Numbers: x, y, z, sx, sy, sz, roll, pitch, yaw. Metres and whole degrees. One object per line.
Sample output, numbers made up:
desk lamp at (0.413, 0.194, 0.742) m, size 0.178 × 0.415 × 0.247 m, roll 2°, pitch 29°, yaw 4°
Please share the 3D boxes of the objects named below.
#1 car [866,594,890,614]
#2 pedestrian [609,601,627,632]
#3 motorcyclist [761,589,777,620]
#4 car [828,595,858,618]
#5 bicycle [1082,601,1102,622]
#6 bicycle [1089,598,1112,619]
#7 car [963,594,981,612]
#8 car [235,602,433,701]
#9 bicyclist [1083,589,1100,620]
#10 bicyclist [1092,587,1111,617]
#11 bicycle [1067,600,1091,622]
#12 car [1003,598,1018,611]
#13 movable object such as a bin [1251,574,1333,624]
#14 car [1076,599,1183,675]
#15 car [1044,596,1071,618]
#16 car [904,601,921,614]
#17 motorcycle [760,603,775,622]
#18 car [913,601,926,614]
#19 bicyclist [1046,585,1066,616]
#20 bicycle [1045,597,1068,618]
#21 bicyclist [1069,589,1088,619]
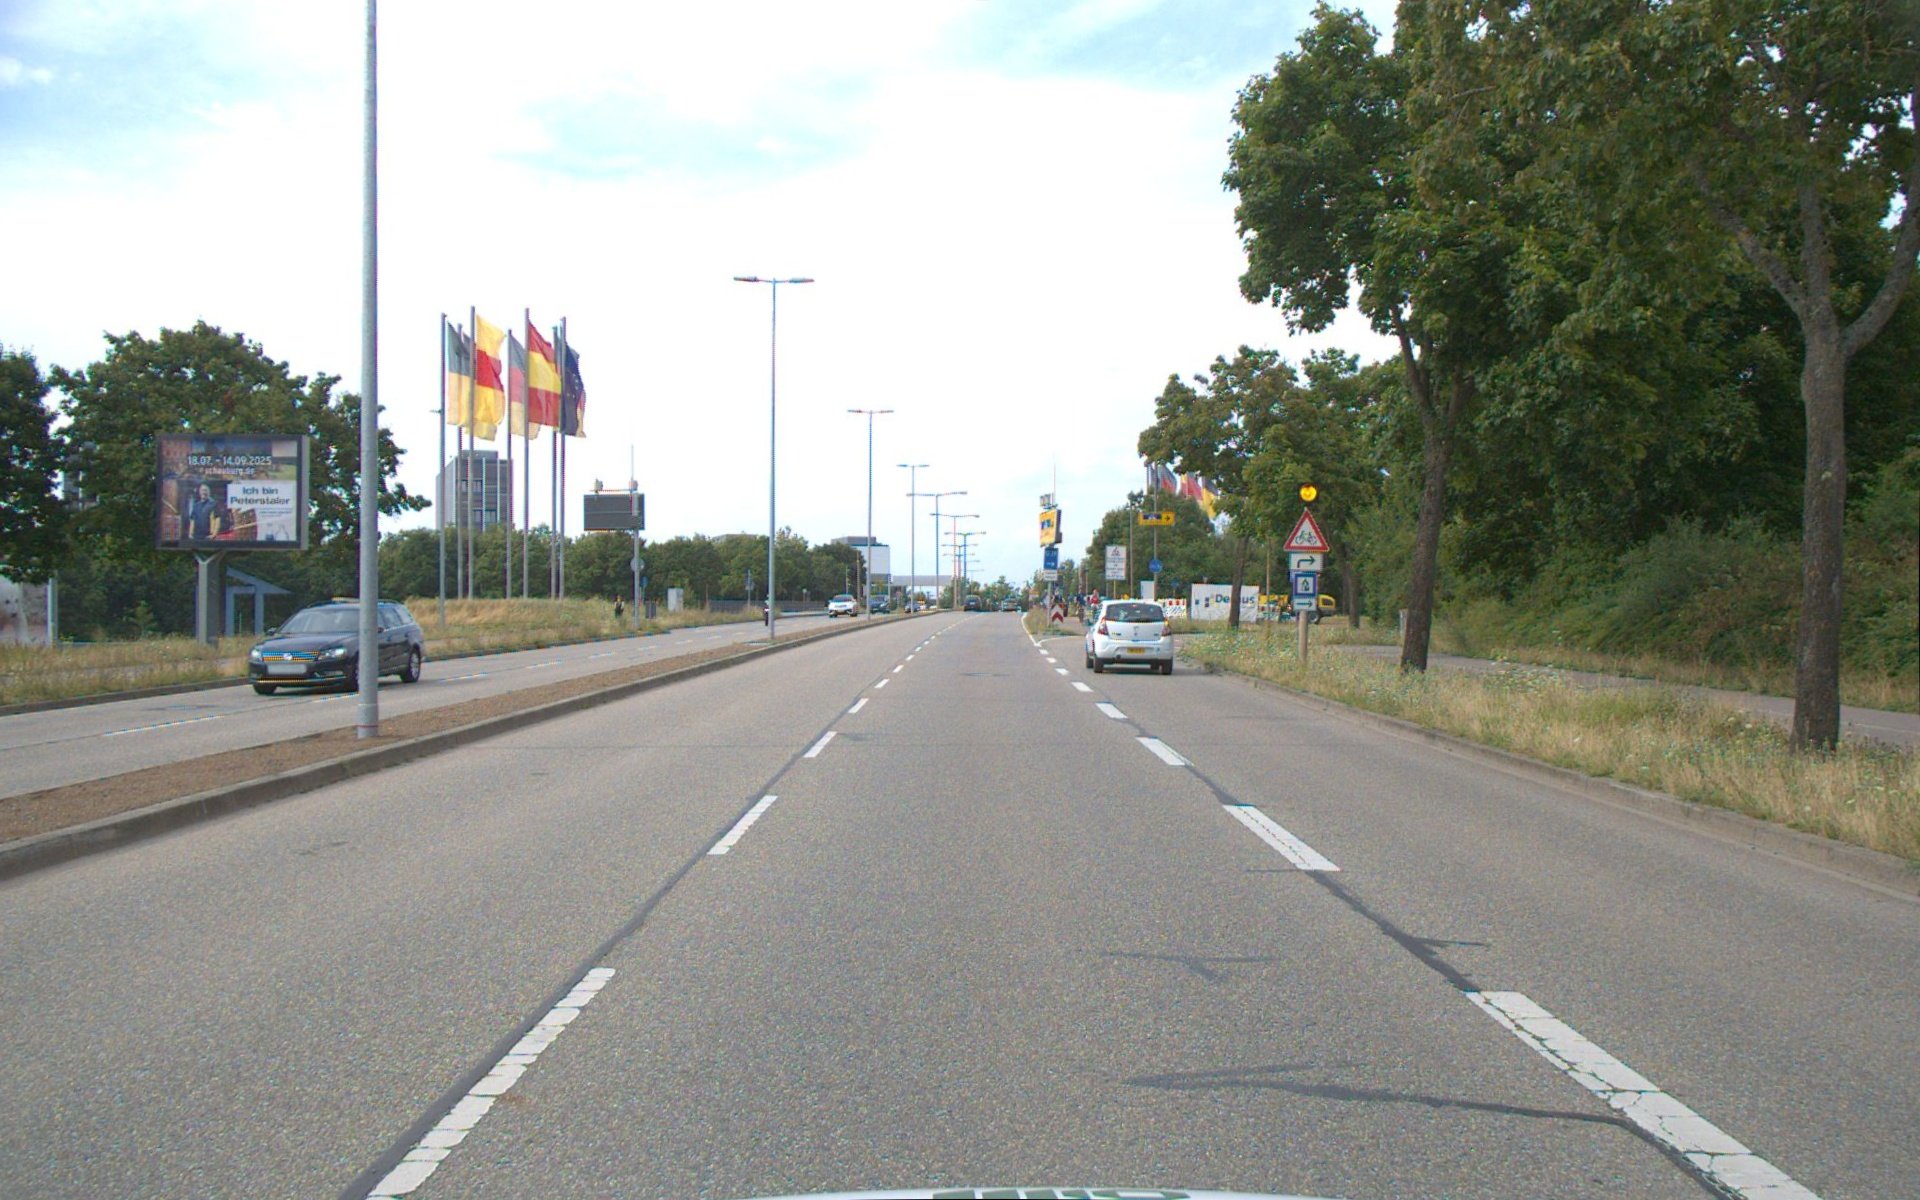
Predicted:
car at (-8.421, 0.432, 170.777) m, size 1.809 × 1.927 × 5.507 m, roll -3°, pitch 0°, yaw 3°
pedestrian at (-19.893, 0.958, 96.243) m, size 0.847 × 1.722 × 0.679 m, roll -1°, pitch 0°, yaw 0°
motorcyclist at (-10.215, 0.244, 88.454) m, size 0.754 × 1.616 × 0.896 m, roll -1°, pitch 0°, yaw 0°
car at (-8.722, 0.489, 123.887) m, size 1.809 × 1.629 × 4.562 m, roll -1°, pitch 1°, yaw 1°
bicycle at (6.541, 0.556, 81.965) m, size 0.608 × 1.023 × 1.785 m, roll -2°, pitch 0°, yaw -6°
bicycle at (7.193, 0.432, 84.736) m, size 0.609 × 1.023 × 1.782 m, roll -2°, pitch 0°, yaw -12°
car at (1.203, 0.339, 165.243) m, size 1.694 × 1.682 × 4.116 m, roll 1°, pitch -1°, yaw 3°
car at (-10.839, 0.834, 29.022) m, size 1.732 × 1.559 × 4.740 m, roll -1°, pitch 0°, yaw -1°
bicyclist at (6.522, 0.217, 81.976) m, size 0.726 × 1.499 × 0.804 m, roll 1°, pitch -1°, yaw -6°
bicyclist at (7.242, 0.109, 84.698) m, size 0.728 × 1.513 × 0.955 m, roll 1°, pitch -1°, yaw -13°
bicycle at (6.064, 0.548, 84.562) m, size 0.585 × 1.055 × 2.188 m, roll 3°, pitch 0°, yaw -12°
car at (6.071, 0.590, 200.331) m, size 1.695 × 1.553 × 4.115 m, roll 1°, pitch -1°, yaw 1°
movable object such as a bin at (19.069, -0.036, 95.158) m, size 4.406 × 2.736 × 2.103 m, roll 1°, pitch -1°, yaw 6°
car at (3.632, 0.774, 36.014) m, size 1.810 × 1.528 × 3.999 m, roll 1°, pitch 0°, yaw -1°
car at (7.686, 0.549, 130.792) m, size 1.696 × 1.682 × 4.112 m, roll 1°, pitch -1°, yaw -3°
car at (-5.824, 0.881, 203.732) m, size 1.727 × 1.466 × 4.178 m, roll -2°, pitch 0°, yaw 2°
motorcycle at (-10.305, 0.684, 88.541) m, size 0.512 × 0.984 × 2.220 m, roll -1°, pitch 0°, yaw 0°
car at (-5.571, 1.021, 226.072) m, size 1.516 × 1.605 × 3.691 m, roll -2°, pitch 0°, yaw 2°
bicyclist at (4.913, 0.021, 84.591) m, size 0.728 × 1.545 × 0.955 m, roll 1°, pitch -1°, yaw -13°
bicycle at (4.911, 0.394, 84.565) m, size 0.609 × 1.023 × 2.096 m, roll 3°, pitch 0°, yaw -12°
bicyclist at (6.065, 0.210, 84.595) m, size 0.728 × 1.545 × 0.955 m, roll 1°, pitch -1°, yaw -12°
